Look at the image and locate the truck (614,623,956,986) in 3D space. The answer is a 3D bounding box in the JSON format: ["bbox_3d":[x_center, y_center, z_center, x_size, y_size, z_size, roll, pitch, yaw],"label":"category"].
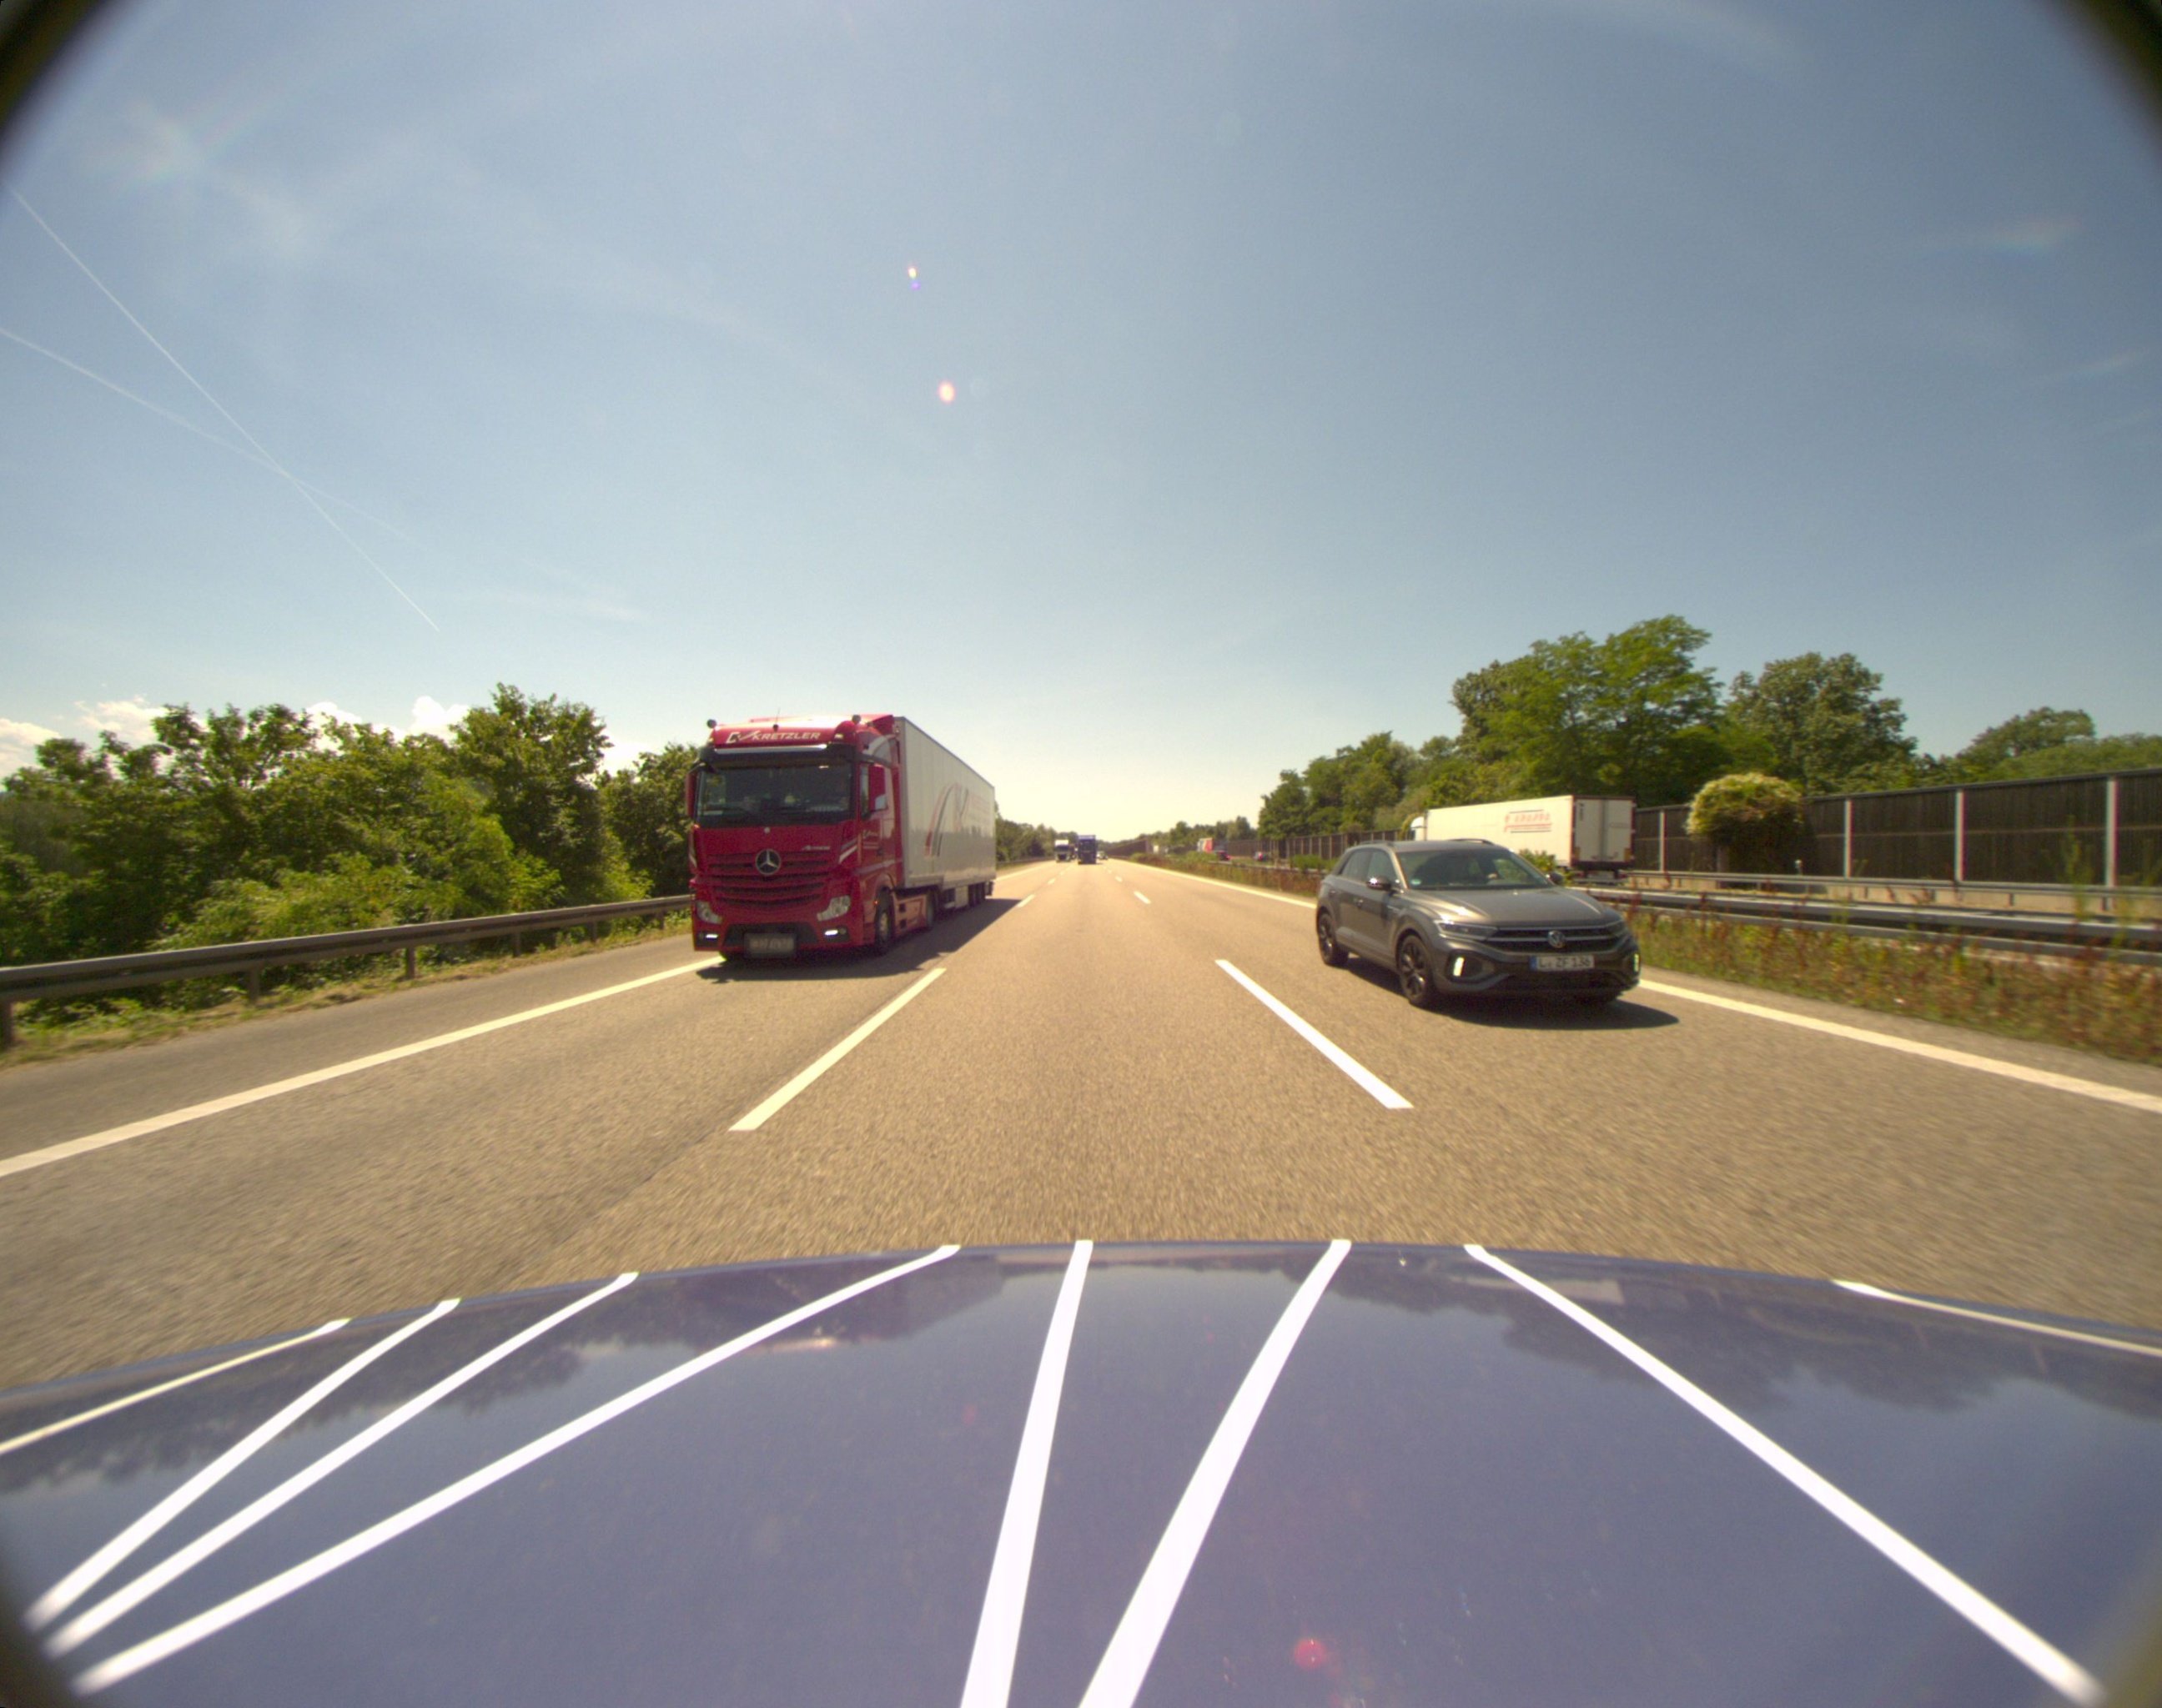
[{"bbox_3d":[-4.623,-0.661,13.870,3.242,4.860,6.972,-2,0,1],"label":"truck"}]

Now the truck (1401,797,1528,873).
[{"bbox_3d":[22.221,-1.038,44.646,3.590,4.080,7.838,0,1,1],"label":"truck"}]

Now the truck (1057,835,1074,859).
[{"bbox_3d":[-2.801,-1.177,140.228,2.820,4.139,10.448,-2,0,0],"label":"truck"}]

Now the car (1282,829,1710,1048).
[{"bbox_3d":[3.840,0.659,8.317,1.885,1.630,5.008,-1,0,-1],"label":"car"}]

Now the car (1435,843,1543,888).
[{"bbox_3d":[15.459,0.400,29.083,1.826,1.587,4.439,0,1,1],"label":"car"}]

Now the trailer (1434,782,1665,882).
[{"bbox_3d":[22.085,-0.951,37.389,3.619,4.080,12.795,0,1,1],"label":"trailer"}]

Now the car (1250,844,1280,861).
[{"bbox_3d":[18.213,-0.138,75.401,1.998,1.587,4.506,0,1,1],"label":"car"}]

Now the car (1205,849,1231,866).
[{"bbox_3d":[13.708,0.339,76.061,1.826,1.587,4.748,0,1,1],"label":"car"}]

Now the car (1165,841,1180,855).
[{"bbox_3d":[19.115,-1.278,158.961,2.321,2.548,7.583,-5,0,1],"label":"car"}]

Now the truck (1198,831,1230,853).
[{"bbox_3d":[22.906,-1.952,132.011,2.845,3.322,17.005,-2,0,1],"label":"truck"}]

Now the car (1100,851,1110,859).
[{"bbox_3d":[5.266,0.196,164.461,2.045,1.559,4.000,-2,0,1],"label":"car"}]

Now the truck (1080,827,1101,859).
[{"bbox_3d":[1.239,-1.444,104.252,2.707,4.093,6.990,-2,0,0],"label":"truck"}]

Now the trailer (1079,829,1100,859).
[{"bbox_3d":[1.247,-1.424,111.599,2.707,4.093,12.131,-2,0,0],"label":"trailer"}]

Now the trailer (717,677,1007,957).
[{"bbox_3d":[-4.525,-0.622,20.313,3.277,4.809,14.029,-2,0,1],"label":"trailer"}]
